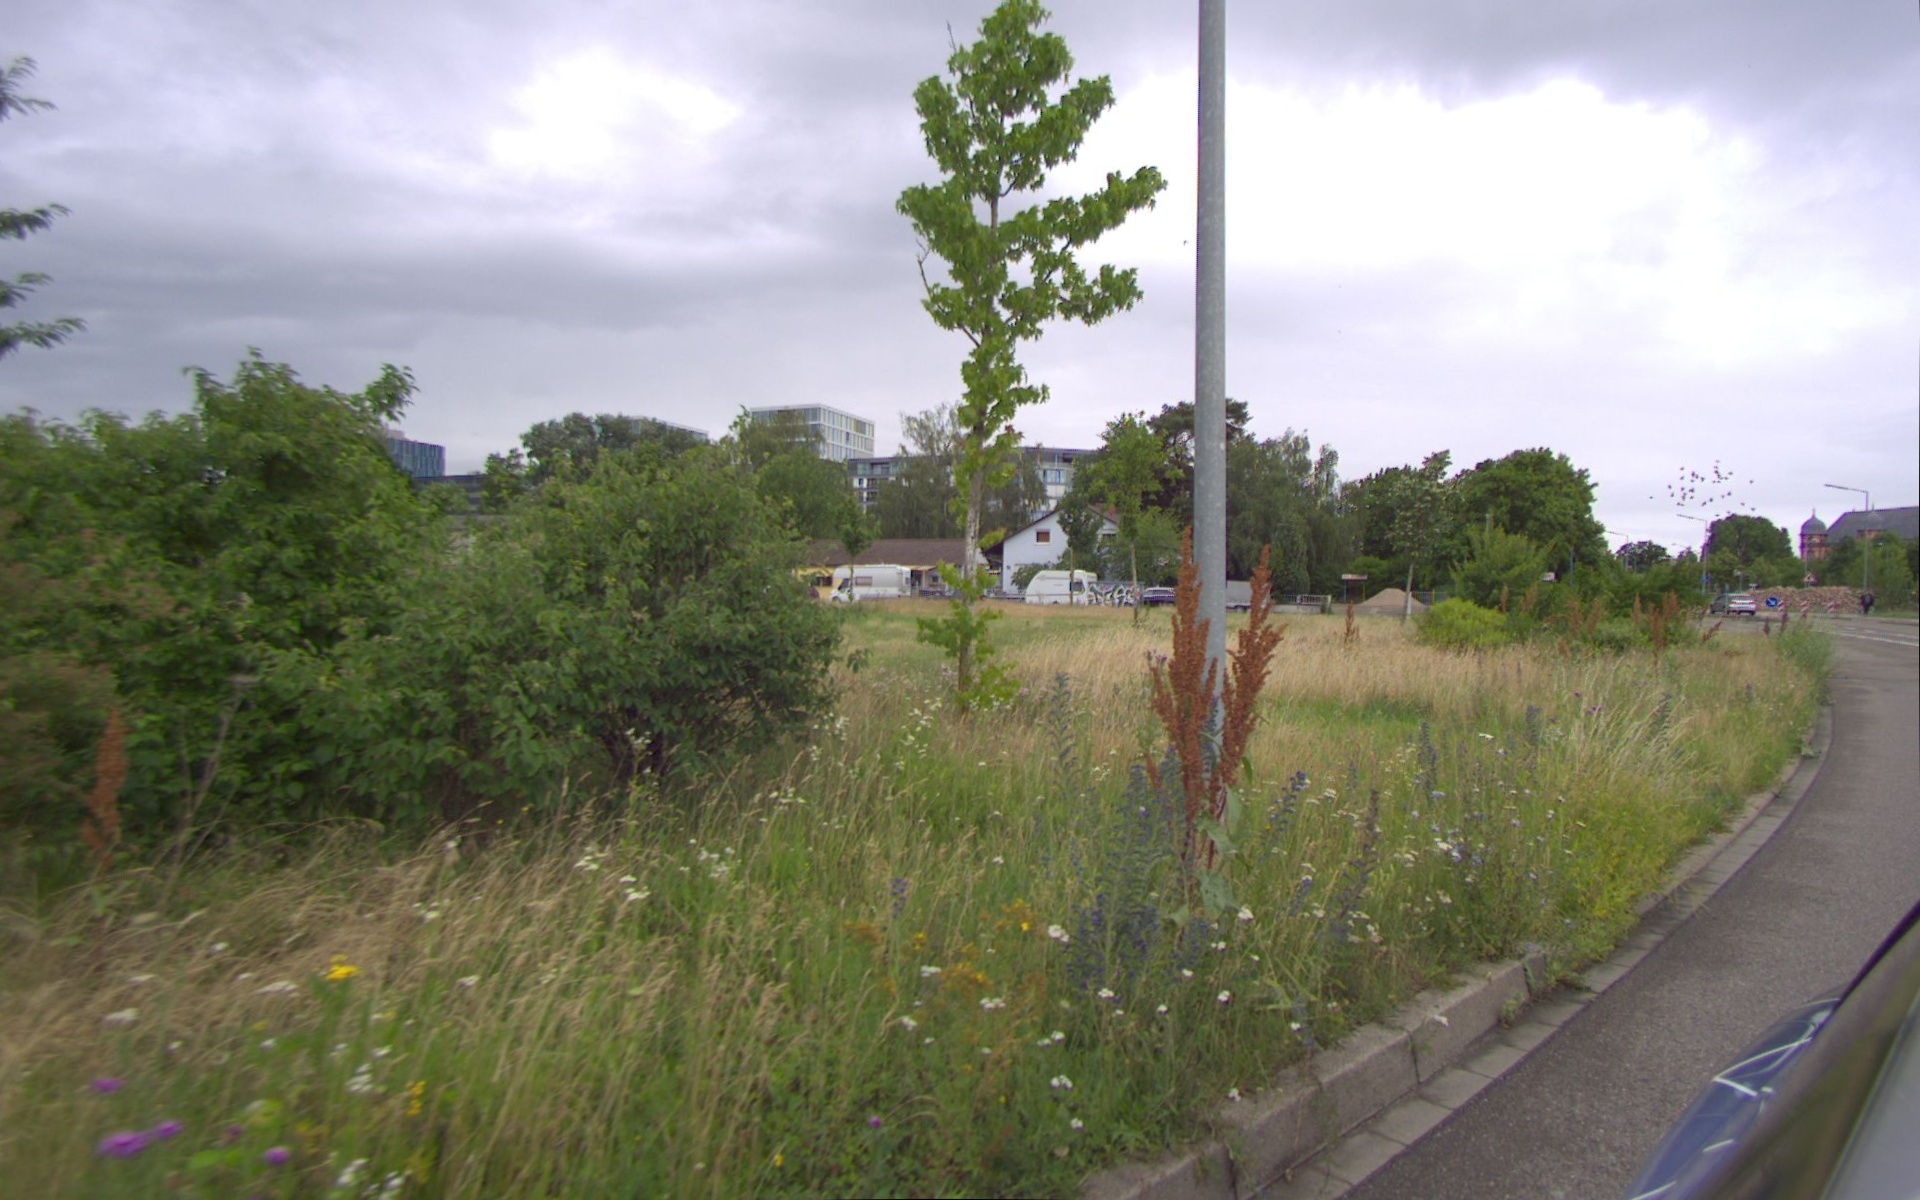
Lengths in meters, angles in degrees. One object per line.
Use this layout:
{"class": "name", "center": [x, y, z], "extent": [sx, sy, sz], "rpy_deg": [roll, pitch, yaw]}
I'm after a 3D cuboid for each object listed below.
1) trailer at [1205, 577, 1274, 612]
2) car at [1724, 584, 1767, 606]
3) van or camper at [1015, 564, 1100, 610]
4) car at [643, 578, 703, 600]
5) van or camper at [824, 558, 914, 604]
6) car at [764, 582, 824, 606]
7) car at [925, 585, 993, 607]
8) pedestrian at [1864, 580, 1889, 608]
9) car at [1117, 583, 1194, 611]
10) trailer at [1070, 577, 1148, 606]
{"class": "trailer", "center": [17.273, -0.350, 62.644], "extent": [3.953, 2.039, 1.631], "rpy_deg": [1, 0, 23]}
{"class": "car", "center": [54.520, -0.327, 70.275], "extent": [1.662, 1.480, 4.016], "rpy_deg": [-1, 0, 29]}
{"class": "van or camper", "center": [6.456, -0.864, 66.946], "extent": [5.123, 2.868, 2.396], "rpy_deg": [1, 0, 24]}
{"class": "car", "center": [-22.503, -0.858, 79.441], "extent": [4.236, 1.594, 1.983], "rpy_deg": [1, -2, 24]}
{"class": "van or camper", "center": [-6.527, -1.383, 72.403], "extent": [6.002, 3.151, 2.255], "rpy_deg": [1, 0, 22]}
{"class": "car", "center": [-12.295, -0.447, 75.021], "extent": [3.891, 1.594, 1.983], "rpy_deg": [1, -2, 24]}
{"class": "car", "center": [-0.066, -0.274, 69.502], "extent": [4.240, 1.402, 1.899], "rpy_deg": [1, 1, 22]}
{"class": "pedestrian", "center": [59.329, -0.400, 65.540], "extent": [0.836, 1.805, 1.070], "rpy_deg": [1, 0, 20]}
{"class": "car", "center": [12.417, -0.223, 64.200], "extent": [4.540, 1.660, 1.985], "rpy_deg": [1, 0, 22]}
{"class": "trailer", "center": [8.343, -0.488, 56.745], "extent": [4.069, 1.552, 1.746], "rpy_deg": [1, 0, 21]}
